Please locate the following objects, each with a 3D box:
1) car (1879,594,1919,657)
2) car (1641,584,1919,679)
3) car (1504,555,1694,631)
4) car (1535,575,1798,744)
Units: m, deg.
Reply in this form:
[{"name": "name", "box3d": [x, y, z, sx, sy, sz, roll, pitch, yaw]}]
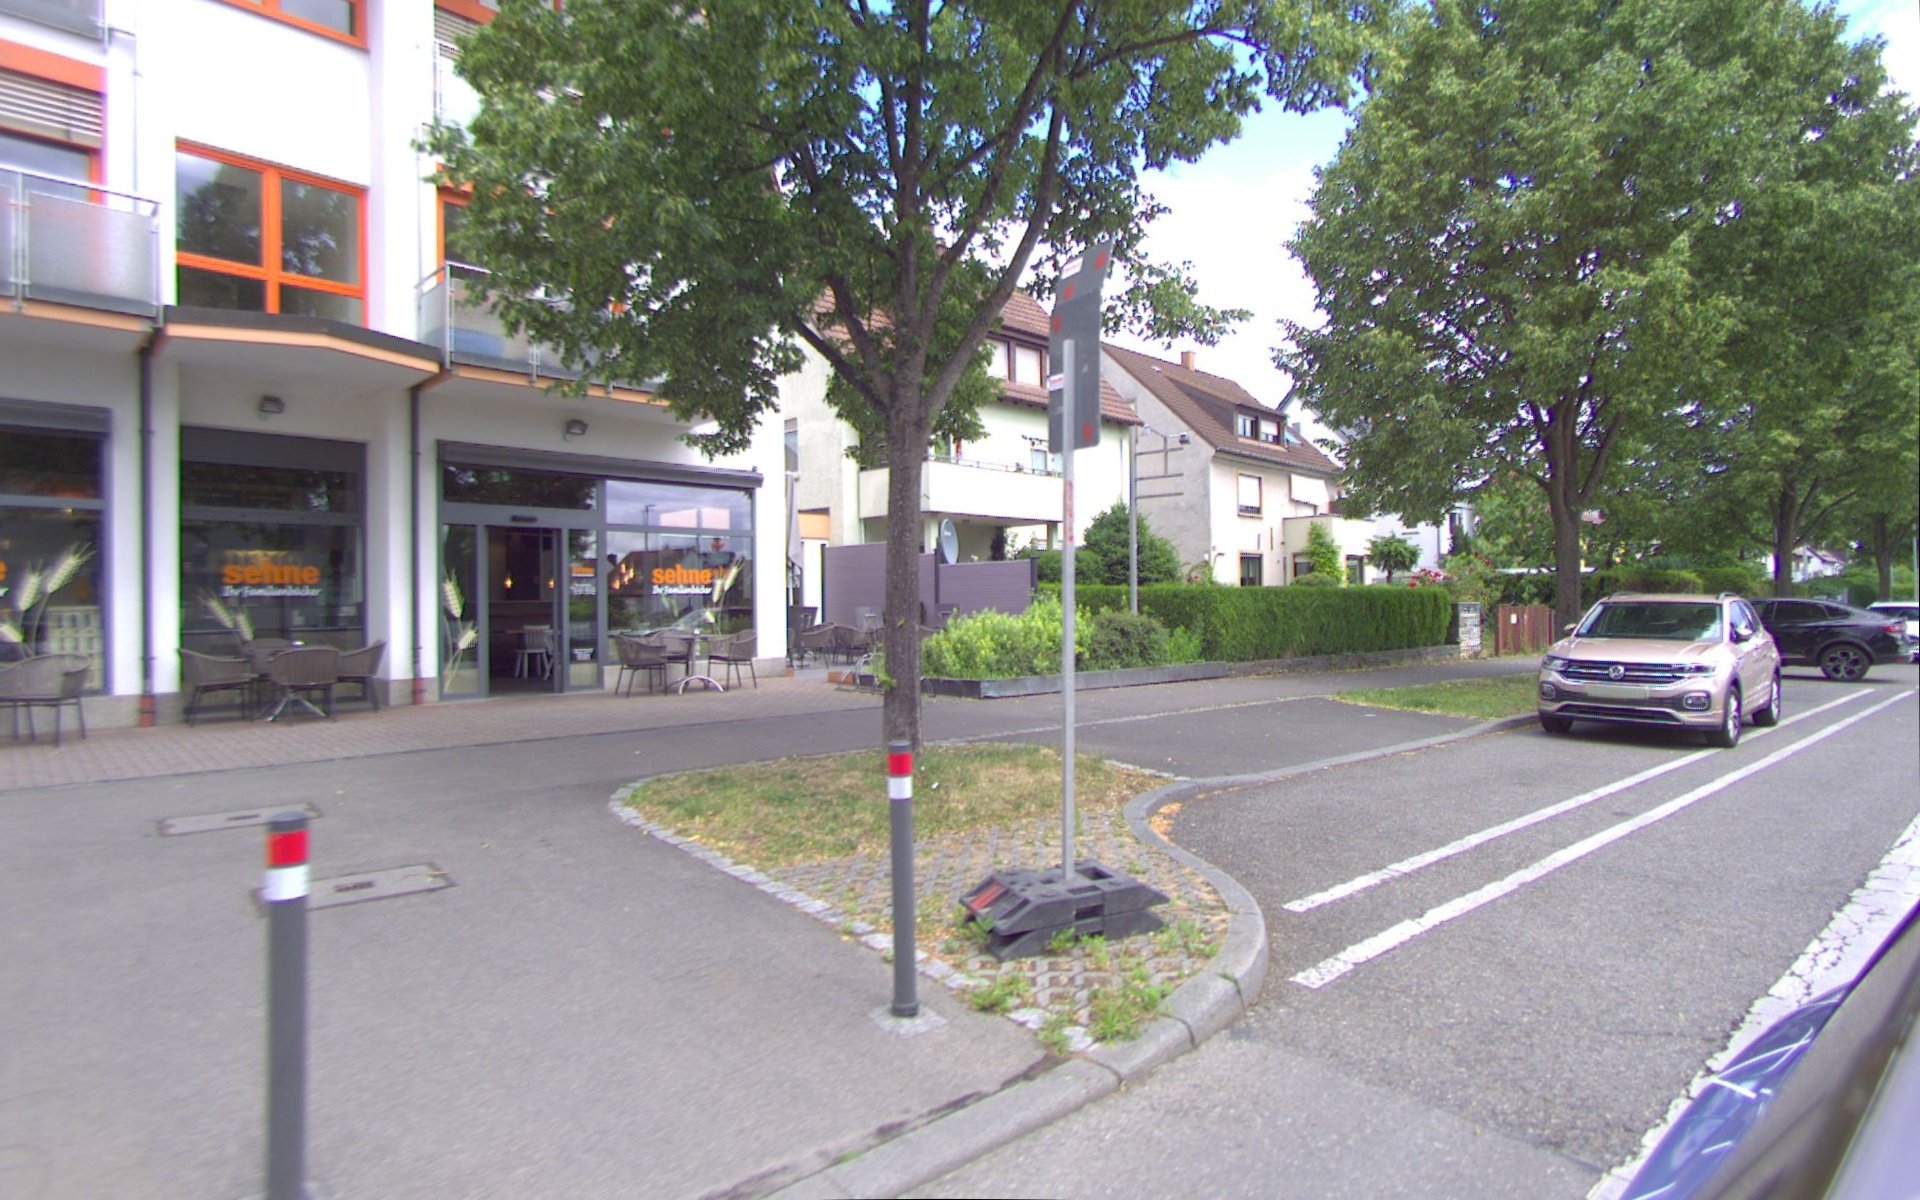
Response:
[{"name": "car", "box3d": [24.672, 0.590, 25.522, 4.731, 1.493, 1.807, 0, 0, -43]}, {"name": "car", "box3d": [16.112, 0.527, 19.986, 4.217, 1.658, 1.666, 1, 1, 44]}, {"name": "car", "box3d": [23.614, -0.218, 37.604, 1.965, 2.625, 5.715, 1, -1, -45]}, {"name": "car", "box3d": [8.203, 0.561, 11.609, 3.993, 1.600, 1.723, 0, 0, -44]}]
